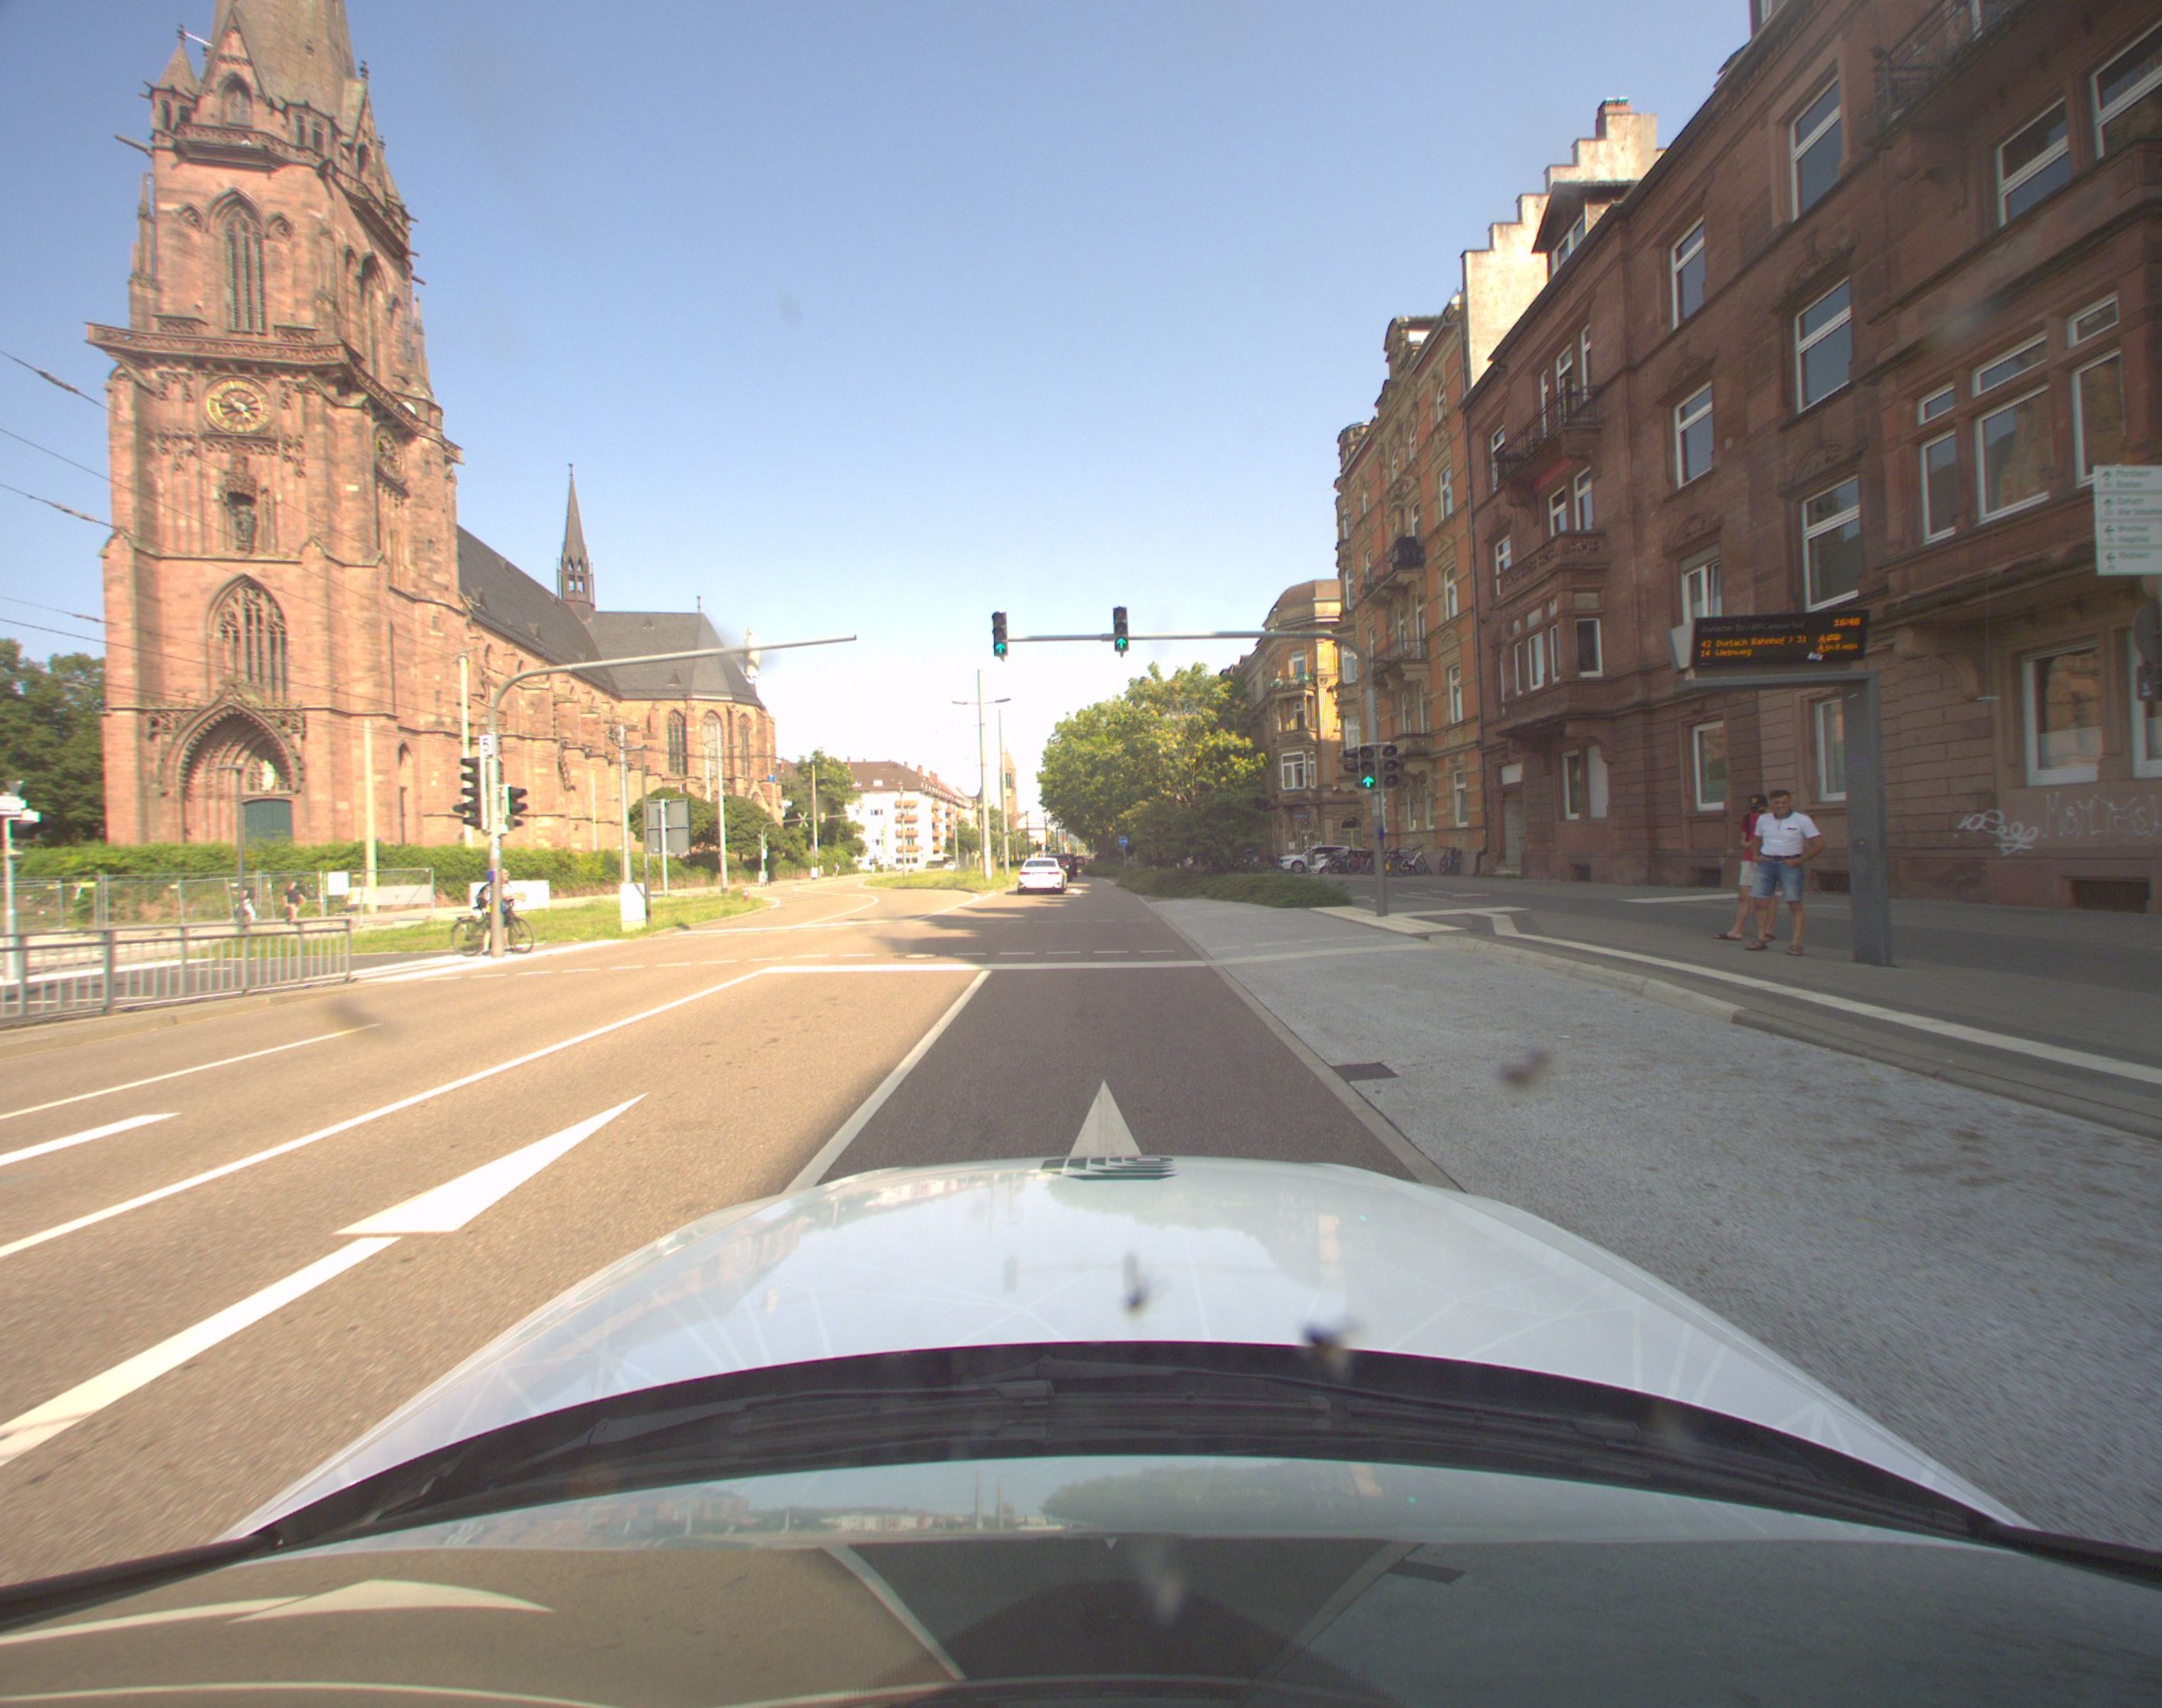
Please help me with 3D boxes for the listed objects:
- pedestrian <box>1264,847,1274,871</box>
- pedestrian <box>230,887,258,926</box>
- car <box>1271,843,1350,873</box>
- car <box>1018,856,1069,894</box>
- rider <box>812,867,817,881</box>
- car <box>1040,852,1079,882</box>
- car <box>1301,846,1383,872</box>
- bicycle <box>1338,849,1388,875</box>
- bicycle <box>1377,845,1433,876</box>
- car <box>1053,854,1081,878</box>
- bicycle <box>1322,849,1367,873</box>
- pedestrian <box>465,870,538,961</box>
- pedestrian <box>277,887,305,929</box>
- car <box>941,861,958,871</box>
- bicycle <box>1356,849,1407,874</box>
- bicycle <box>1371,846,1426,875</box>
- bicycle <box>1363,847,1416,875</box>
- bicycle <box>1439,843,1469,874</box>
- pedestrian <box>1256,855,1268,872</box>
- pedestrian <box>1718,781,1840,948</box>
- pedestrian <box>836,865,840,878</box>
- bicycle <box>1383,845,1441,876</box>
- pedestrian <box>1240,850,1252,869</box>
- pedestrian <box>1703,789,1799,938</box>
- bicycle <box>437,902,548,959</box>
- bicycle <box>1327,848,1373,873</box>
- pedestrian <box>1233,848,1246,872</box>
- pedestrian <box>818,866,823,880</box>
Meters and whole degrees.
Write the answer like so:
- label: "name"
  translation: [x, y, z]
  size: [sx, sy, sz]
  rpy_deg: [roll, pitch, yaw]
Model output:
- label: "pedestrian"
  translation: [11.927, 0.297, 51.658]
  size: [0.443, 1.506, 0.486]
  rpy_deg: [-2, 0, -5]
- label: "pedestrian"
  translation: [-35.325, 2.202, 34.373]
  size: [0.542, 1.576, 0.658]
  rpy_deg: [-2, 0, -19]
- label: "car"
  translation: [13.891, 0.252, 49.422]
  size: [4.171, 1.563, 1.998]
  rpy_deg: [-3, 0, -4]
- label: "car"
  translation: [-1.452, 0.818, 33.495]
  size: [1.803, 1.427, 4.775]
  rpy_deg: [0, 0, 1]
- label: "rider"
  translation: [-27.226, 2.021, 83.202]
  size: [0.306, 1.431, 0.250]
  rpy_deg: [-2, 0, -2]
- label: "car"
  translation: [-1.213, 0.736, 47.343]
  size: [1.986, 1.621, 4.358]
  rpy_deg: [-1, 0, 1]
- label: "car"
  translation: [14.117, 0.275, 44.223]
  size: [3.928, 1.222, 1.545]
  rpy_deg: [-3, 0, -4]
- label: "bicycle"
  translation: [12.185, 0.335, 35.205]
  size: [1.925, 1.048, 0.526]
  rpy_deg: [-3, 0, -5]
- label: "bicycle"
  translation: [12.238, 0.248, 30.747]
  size: [1.925, 1.048, 0.499]
  rpy_deg: [-3, 0, -5]
- label: "car"
  translation: [-1.009, 0.864, 59.580]
  size: [1.825, 1.621, 4.358]
  rpy_deg: [-1, 0, 1]
- label: "bicycle"
  translation: [12.321, 0.322, 38.114]
  size: [1.925, 1.048, 0.526]
  rpy_deg: [-3, 0, -5]
- label: "pedestrian"
  translation: [-11.236, 1.174, 15.818]
  size: [0.913, 1.679, 0.602]
  rpy_deg: [-3, 0, 0]
- label: "pedestrian"
  translation: [-31.264, 2.135, 32.237]
  size: [0.490, 1.576, 0.552]
  rpy_deg: [-3, 0, 0]
- label: "car"
  translation: [-20.647, 1.869, 128.217]
  size: [1.988, 1.500, 3.998]
  rpy_deg: [-3, 0, -1]
- label: "bicycle"
  translation: [12.458, 0.307, 33.796]
  size: [1.925, 0.950, 0.499]
  rpy_deg: [-3, 0, -5]
- label: "bicycle"
  translation: [12.250, 0.251, 31.456]
  size: [1.925, 1.048, 0.499]
  rpy_deg: [-3, 0, -5]
- label: "bicycle"
  translation: [12.489, 0.281, 32.966]
  size: [1.925, 1.048, 0.499]
  rpy_deg: [-3, 0, -5]
- label: "bicycle"
  translation: [13.150, 0.167, 28.762]
  size: [0.414, 1.048, 1.673]
  rpy_deg: [-3, 0, 6]
- label: "pedestrian"
  translation: [11.143, 0.591, 50.085]
  size: [0.446, 1.071, 0.482]
  rpy_deg: [-2, 0, -30]
- label: "pedestrian"
  translation: [7.305, 0.107, 8.553]
  size: [0.688, 1.664, 0.619]
  rpy_deg: [-2, 0, 1]
- label: "pedestrian"
  translation: [-27.692, 2.017, 92.712]
  size: [0.304, 1.518, 0.340]
  rpy_deg: [-2, 0, -3]
- label: "bicycle"
  translation: [12.200, 0.226, 29.998]
  size: [1.925, 1.048, 0.499]
  rpy_deg: [-3, 0, -5]
- label: "pedestrian"
  translation: [10.858, 0.347, 53.652]
  size: [0.596, 1.248, 0.506]
  rpy_deg: [-3, 0, 0]
- label: "pedestrian"
  translation: [8.001, 0.111, 9.751]
  size: [0.480, 1.702, 0.702]
  rpy_deg: [-2, 0, -2]
- label: "bicycle"
  translation: [-11.419, 1.478, 15.822]
  size: [1.753, 0.978, 0.479]
  rpy_deg: [-3, 0, -1]
- label: "bicycle"
  translation: [12.313, 0.299, 37.255]
  size: [1.925, 1.048, 0.526]
  rpy_deg: [-3, 0, -5]
- label: "pedestrian"
  translation: [9.621, 0.357, 49.409]
  size: [0.571, 1.454, 0.731]
  rpy_deg: [-3, 0, 1]
- label: "pedestrian"
  translation: [-29.056, 2.098, 90.831]
  size: [0.304, 1.518, 0.340]
  rpy_deg: [-2, 0, -3]
